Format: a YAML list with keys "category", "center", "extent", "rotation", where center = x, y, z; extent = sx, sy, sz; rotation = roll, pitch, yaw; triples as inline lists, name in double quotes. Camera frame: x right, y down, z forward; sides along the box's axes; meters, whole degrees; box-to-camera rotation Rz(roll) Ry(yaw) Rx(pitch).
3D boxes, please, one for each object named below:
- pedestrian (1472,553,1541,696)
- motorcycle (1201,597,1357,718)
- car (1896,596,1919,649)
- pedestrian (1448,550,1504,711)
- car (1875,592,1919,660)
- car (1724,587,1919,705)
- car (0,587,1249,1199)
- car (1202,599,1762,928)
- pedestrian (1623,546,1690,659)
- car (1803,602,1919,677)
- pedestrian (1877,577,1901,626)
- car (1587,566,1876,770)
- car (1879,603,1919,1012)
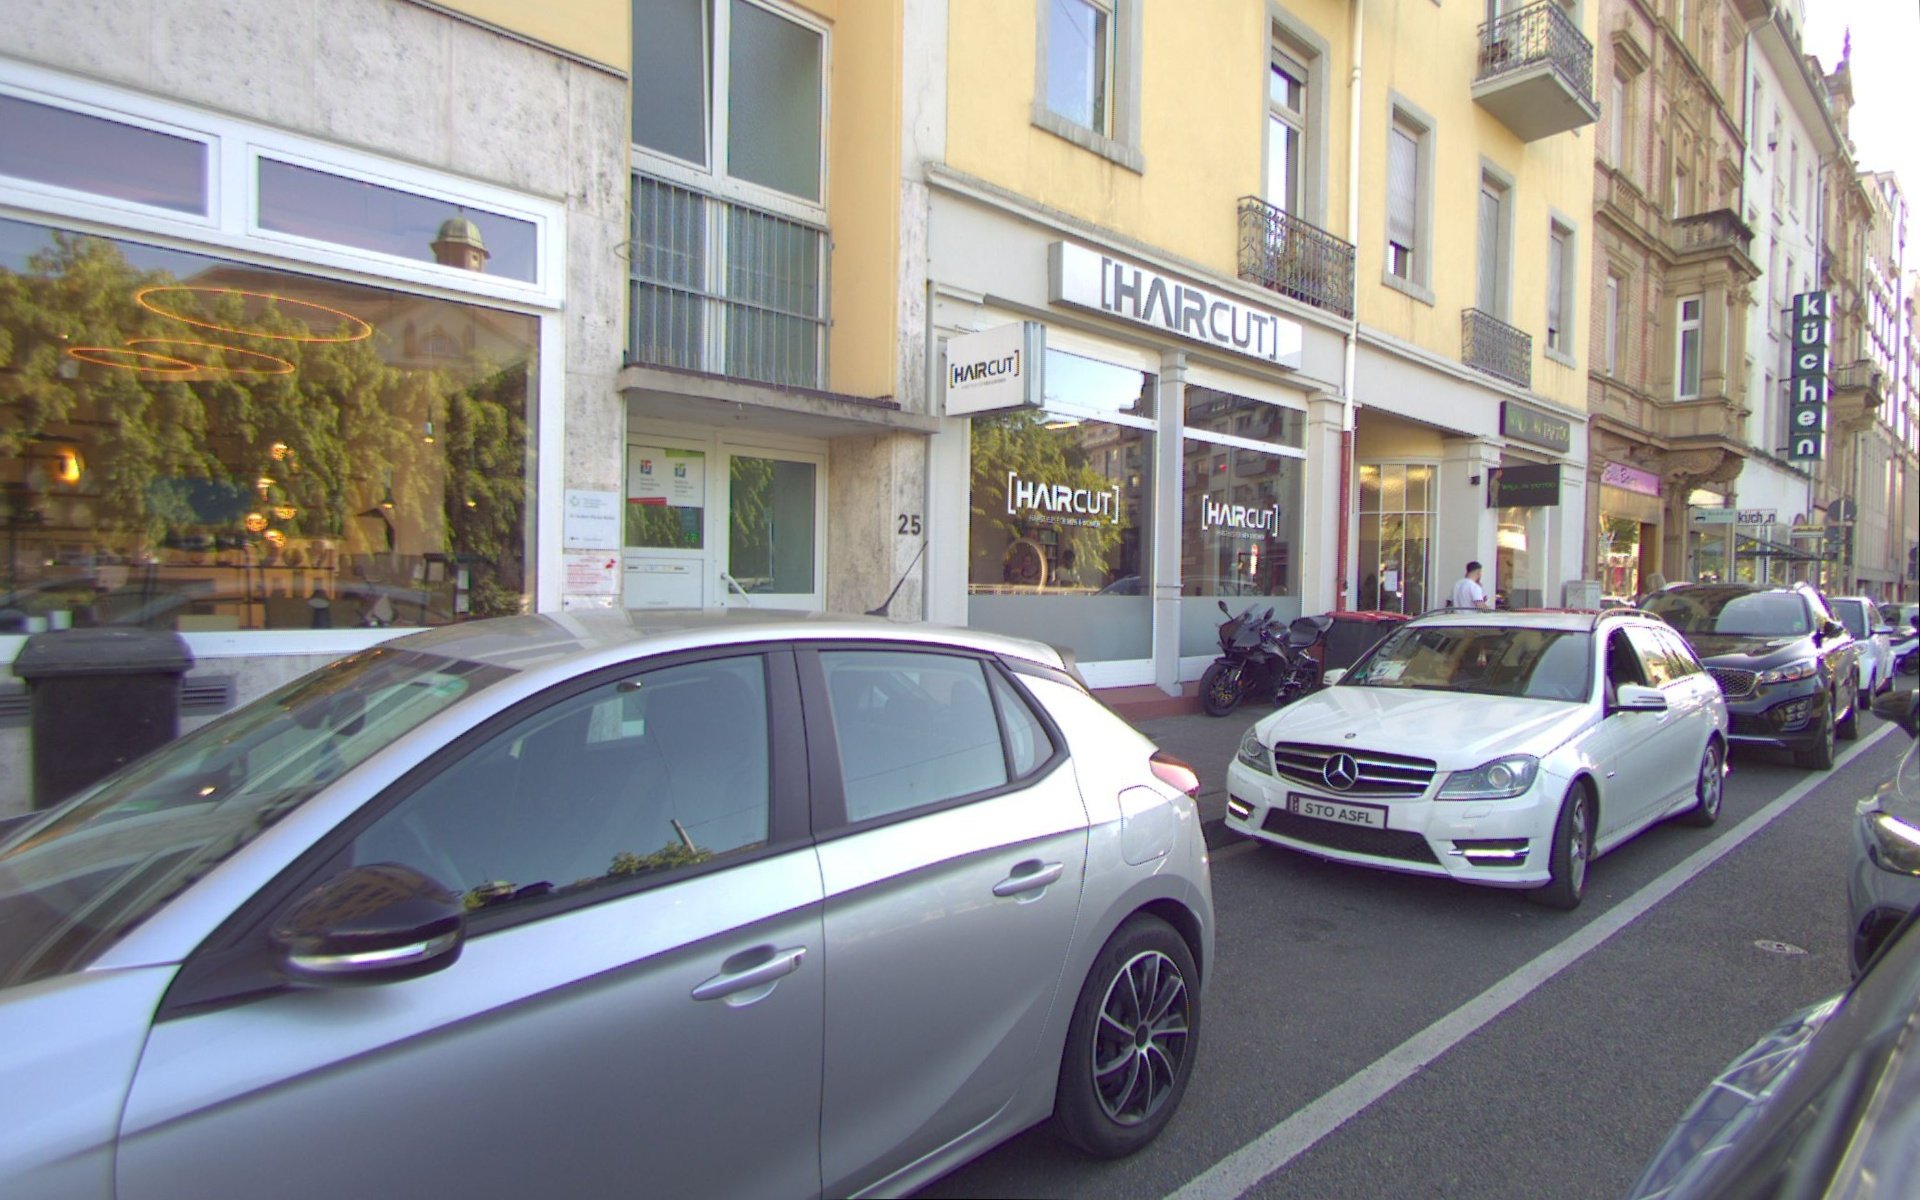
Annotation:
- category: "pedestrian"
  center: [7.416, 0.317, 13.738]
  extent: [0.565, 1.874, 0.664]
  rotation: [0, 0, -39]
- category: "motorcycle"
  center: [3.313, 0.547, 10.416]
  extent: [1.920, 1.091, 0.567]
  rotation: [-1, 4, -41]
- category: "car"
  center: [26.621, 0.582, 27.227]
  extent: [3.773, 1.357, 1.800]
  rotation: [-1, 1, -42]
- category: "pedestrian"
  center: [6.631, 0.376, 13.018]
  extent: [0.367, 2.008, 0.693]
  rotation: [1, 1, 5]
- category: "car"
  center: [22.262, 0.554, 23.115]
  extent: [4.016, 1.450, 1.657]
  rotation: [-1, 0, -42]
- category: "car"
  center: [13.155, 0.580, 15.352]
  extent: [4.016, 1.546, 1.800]
  rotation: [-1, 0, -42]
- category: "car"
  center: [-1.008, 0.699, 2.291]
  extent: [3.597, 1.445, 1.549]
  rotation: [-1, 1, -42]
- category: "car"
  center: [3.534, 0.705, 6.440]
  extent: [4.302, 1.376, 1.703]
  rotation: [-1, 1, -41]
- category: "pedestrian"
  center: [10.583, 0.034, 15.395]
  extent: [0.711, 1.675, 0.601]
  rotation: [0, -1, 23]
- category: "car"
  center: [18.080, 0.712, 19.891]
  extent: [4.016, 1.282, 1.800]
  rotation: [-1, 1, -42]
- category: "pedestrian"
  center: [35.524, 0.048, 38.697]
  extent: [0.653, 1.874, 0.574]
  rotation: [0, 0, -40]
- category: "car"
  center: [8.006, 0.527, 10.351]
  extent: [4.176, 1.659, 1.799]
  rotation: [-1, 1, -45]
- category: "car"
  center: [5.261, 0.706, 4.226]
  extent: [3.933, 1.376, 1.799]
  rotation: [-1, 1, -43]
